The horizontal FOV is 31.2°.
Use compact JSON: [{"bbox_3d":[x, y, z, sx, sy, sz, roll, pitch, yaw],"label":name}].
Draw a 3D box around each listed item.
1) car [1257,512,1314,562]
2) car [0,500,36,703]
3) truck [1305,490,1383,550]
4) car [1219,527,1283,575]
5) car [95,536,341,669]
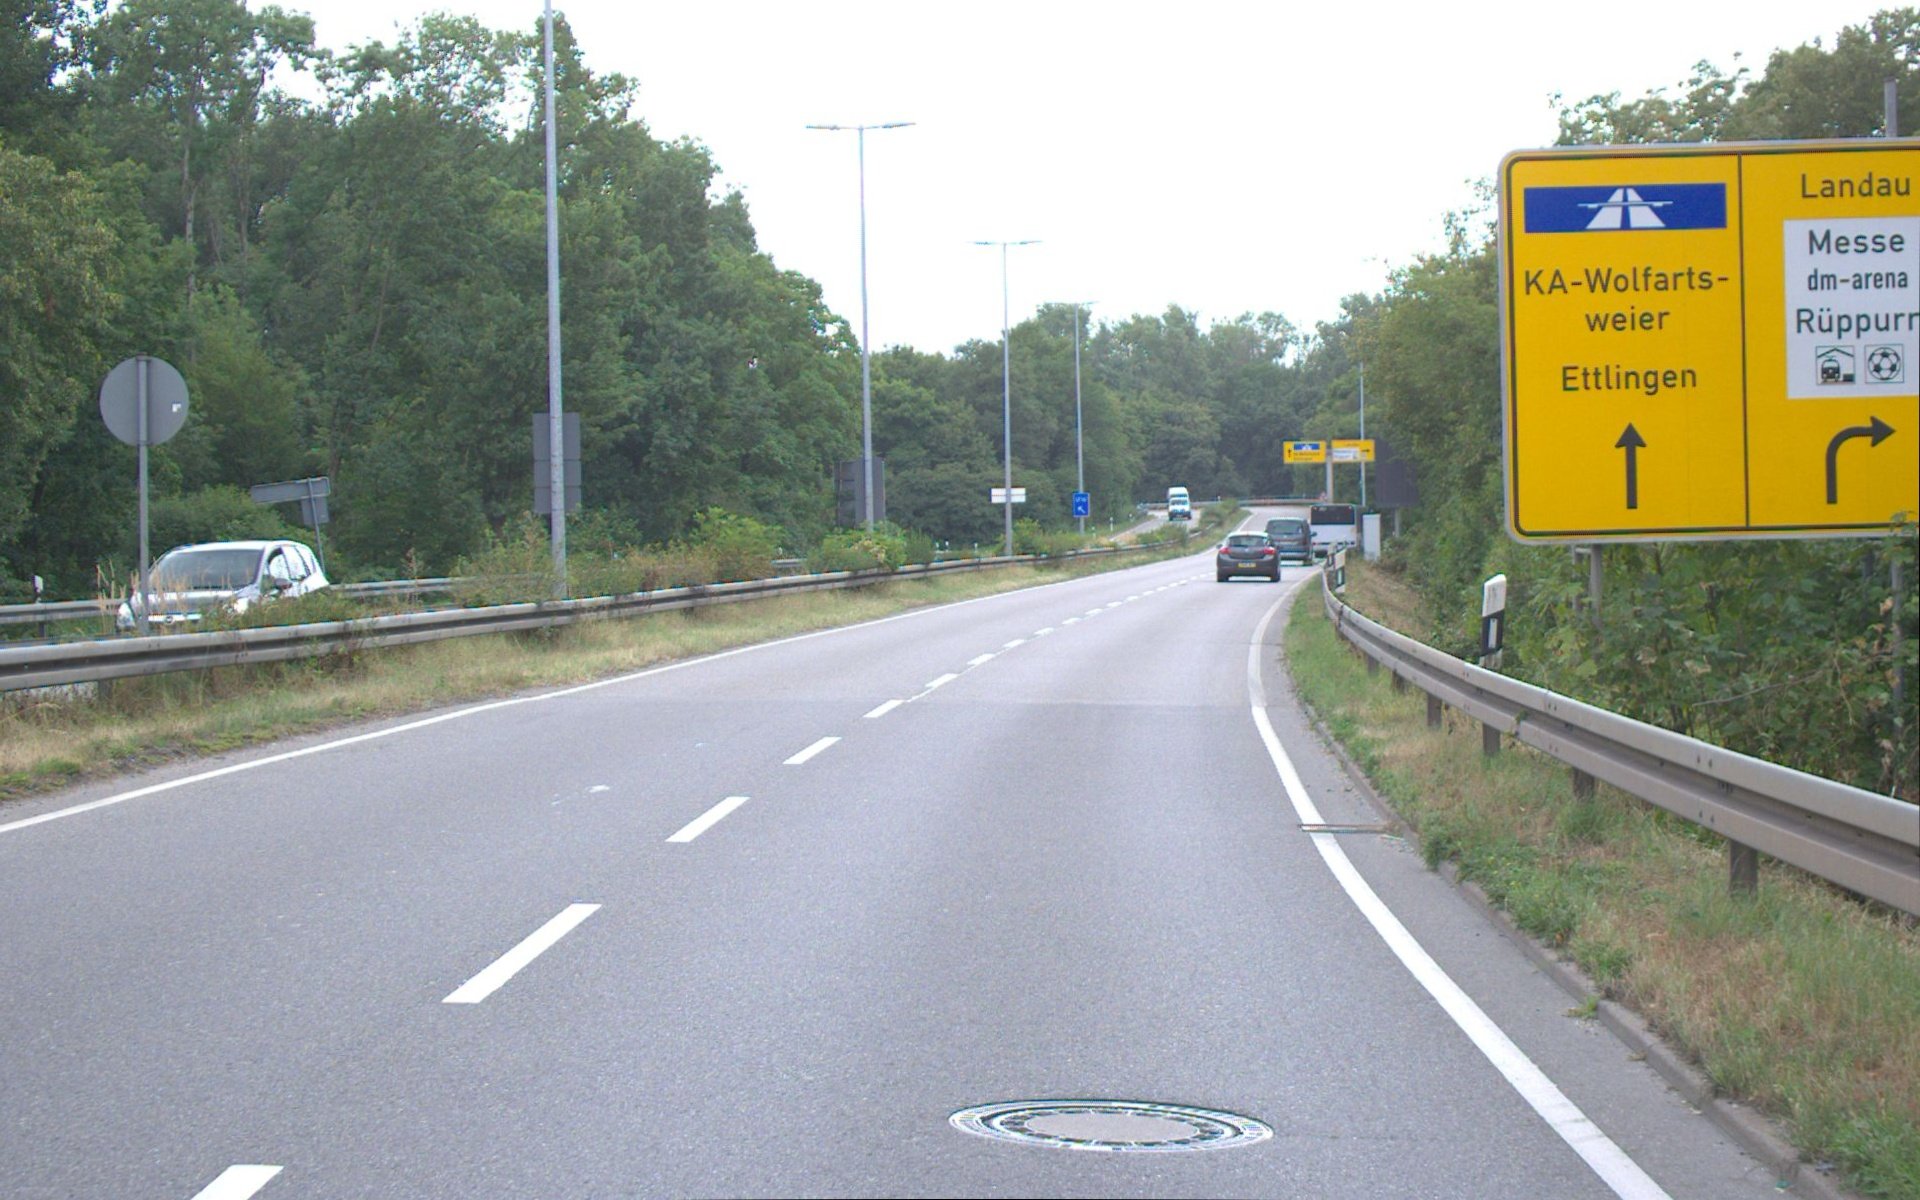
[{"bbox_3d":[13.493,-2.587,142.335,2.149,2.007,3.999,0,0,8],"label":"car"},{"bbox_3d":[-9.870,0.018,29.761,2.010,1.857,5.277,0,0,4],"label":"car"},{"bbox_3d":[20.078,-4.140,179.435,2.982,2.875,7.985,0,0,14],"label":"truck"},{"bbox_3d":[8.611,-1.430,101.493,1.626,1.373,3.999,0,0,8],"label":"car"},{"bbox_3d":[-8.833,0.030,41.230,1.767,1.501,3.939,0,0,5],"label":"car"}]
